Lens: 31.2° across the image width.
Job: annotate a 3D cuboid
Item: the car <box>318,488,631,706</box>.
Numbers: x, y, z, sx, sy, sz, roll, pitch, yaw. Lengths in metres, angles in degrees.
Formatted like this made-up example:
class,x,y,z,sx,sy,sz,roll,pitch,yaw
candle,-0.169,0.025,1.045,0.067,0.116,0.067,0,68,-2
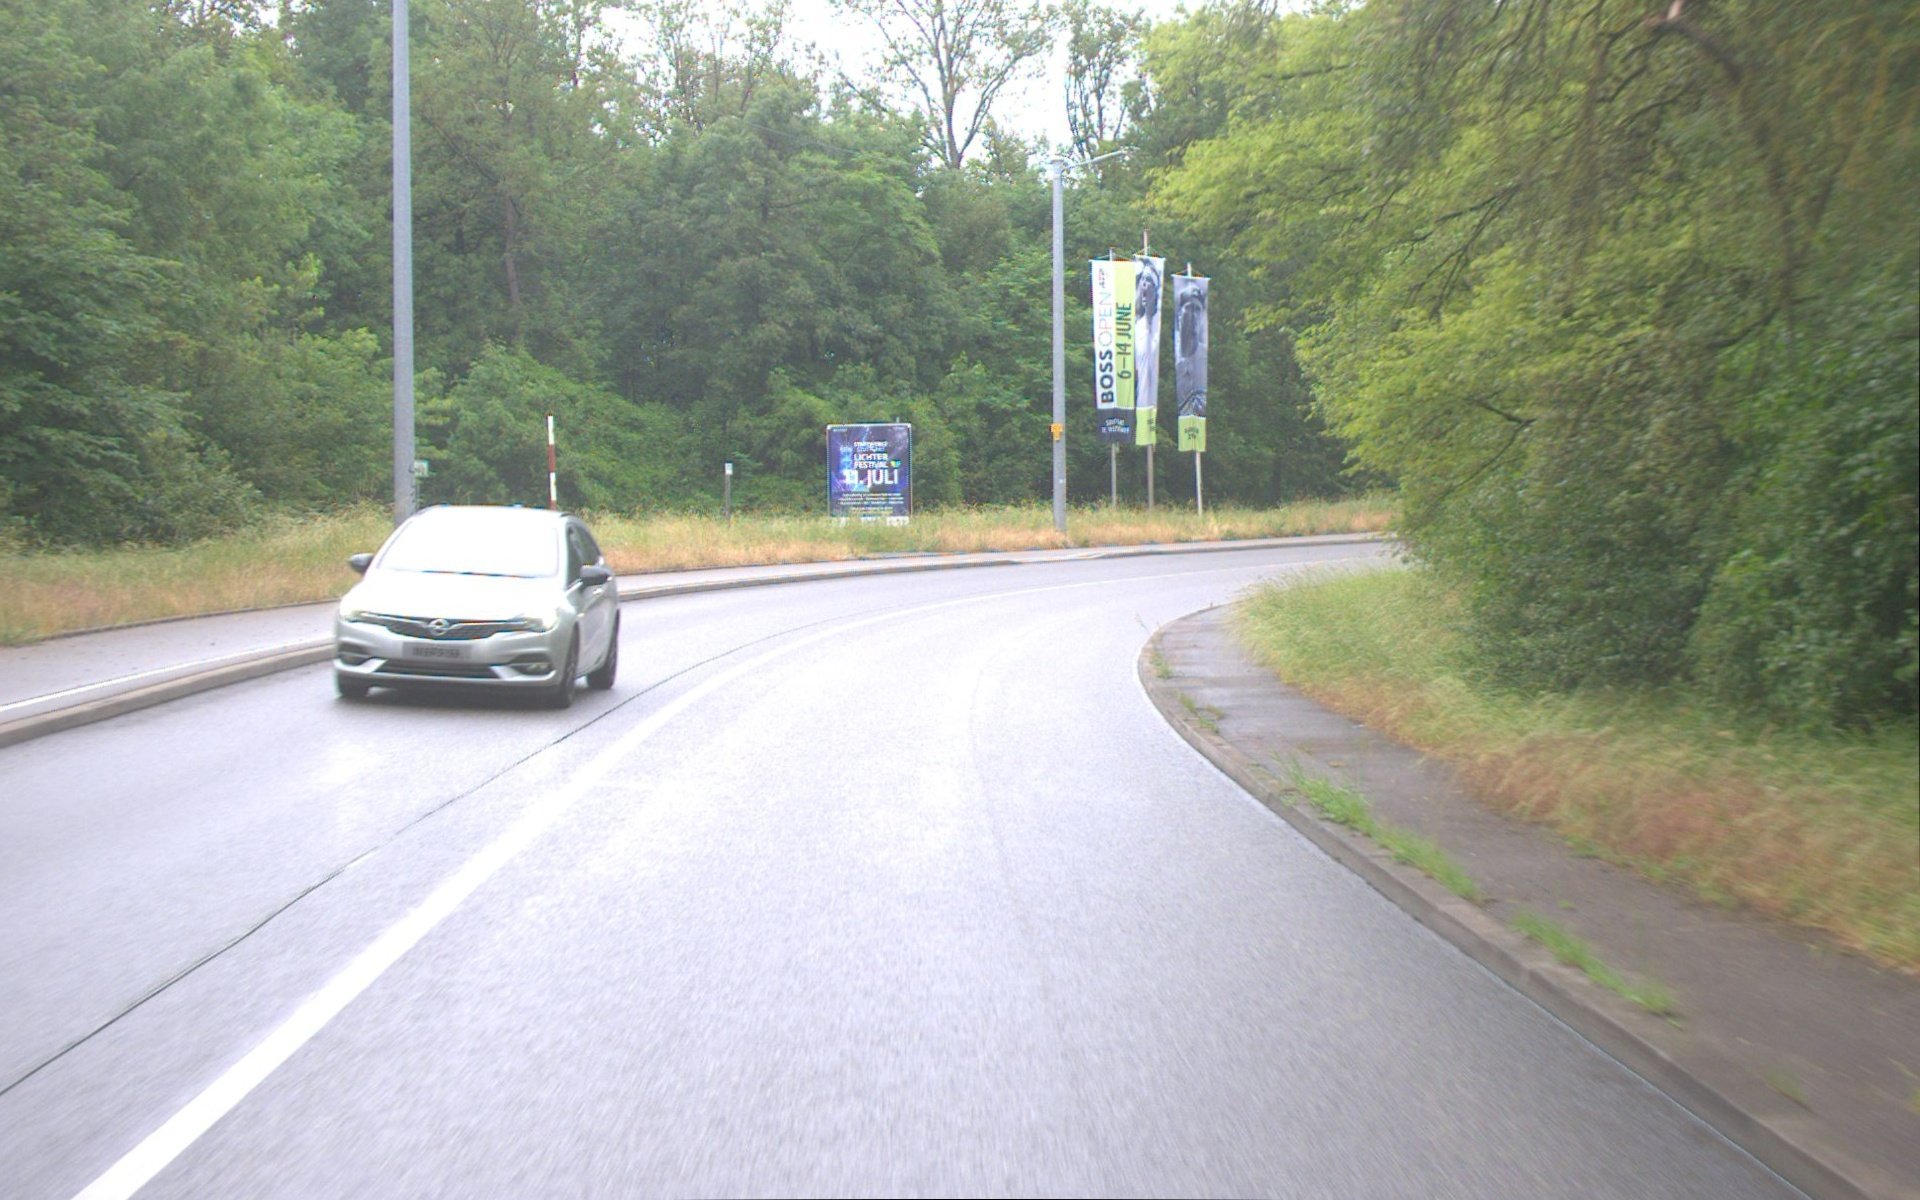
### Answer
class,x,y,z,sx,sy,sz,roll,pitch,yaw
car,-3.745,-0.093,27.217,1.780,1.425,4.475,3,3,0
